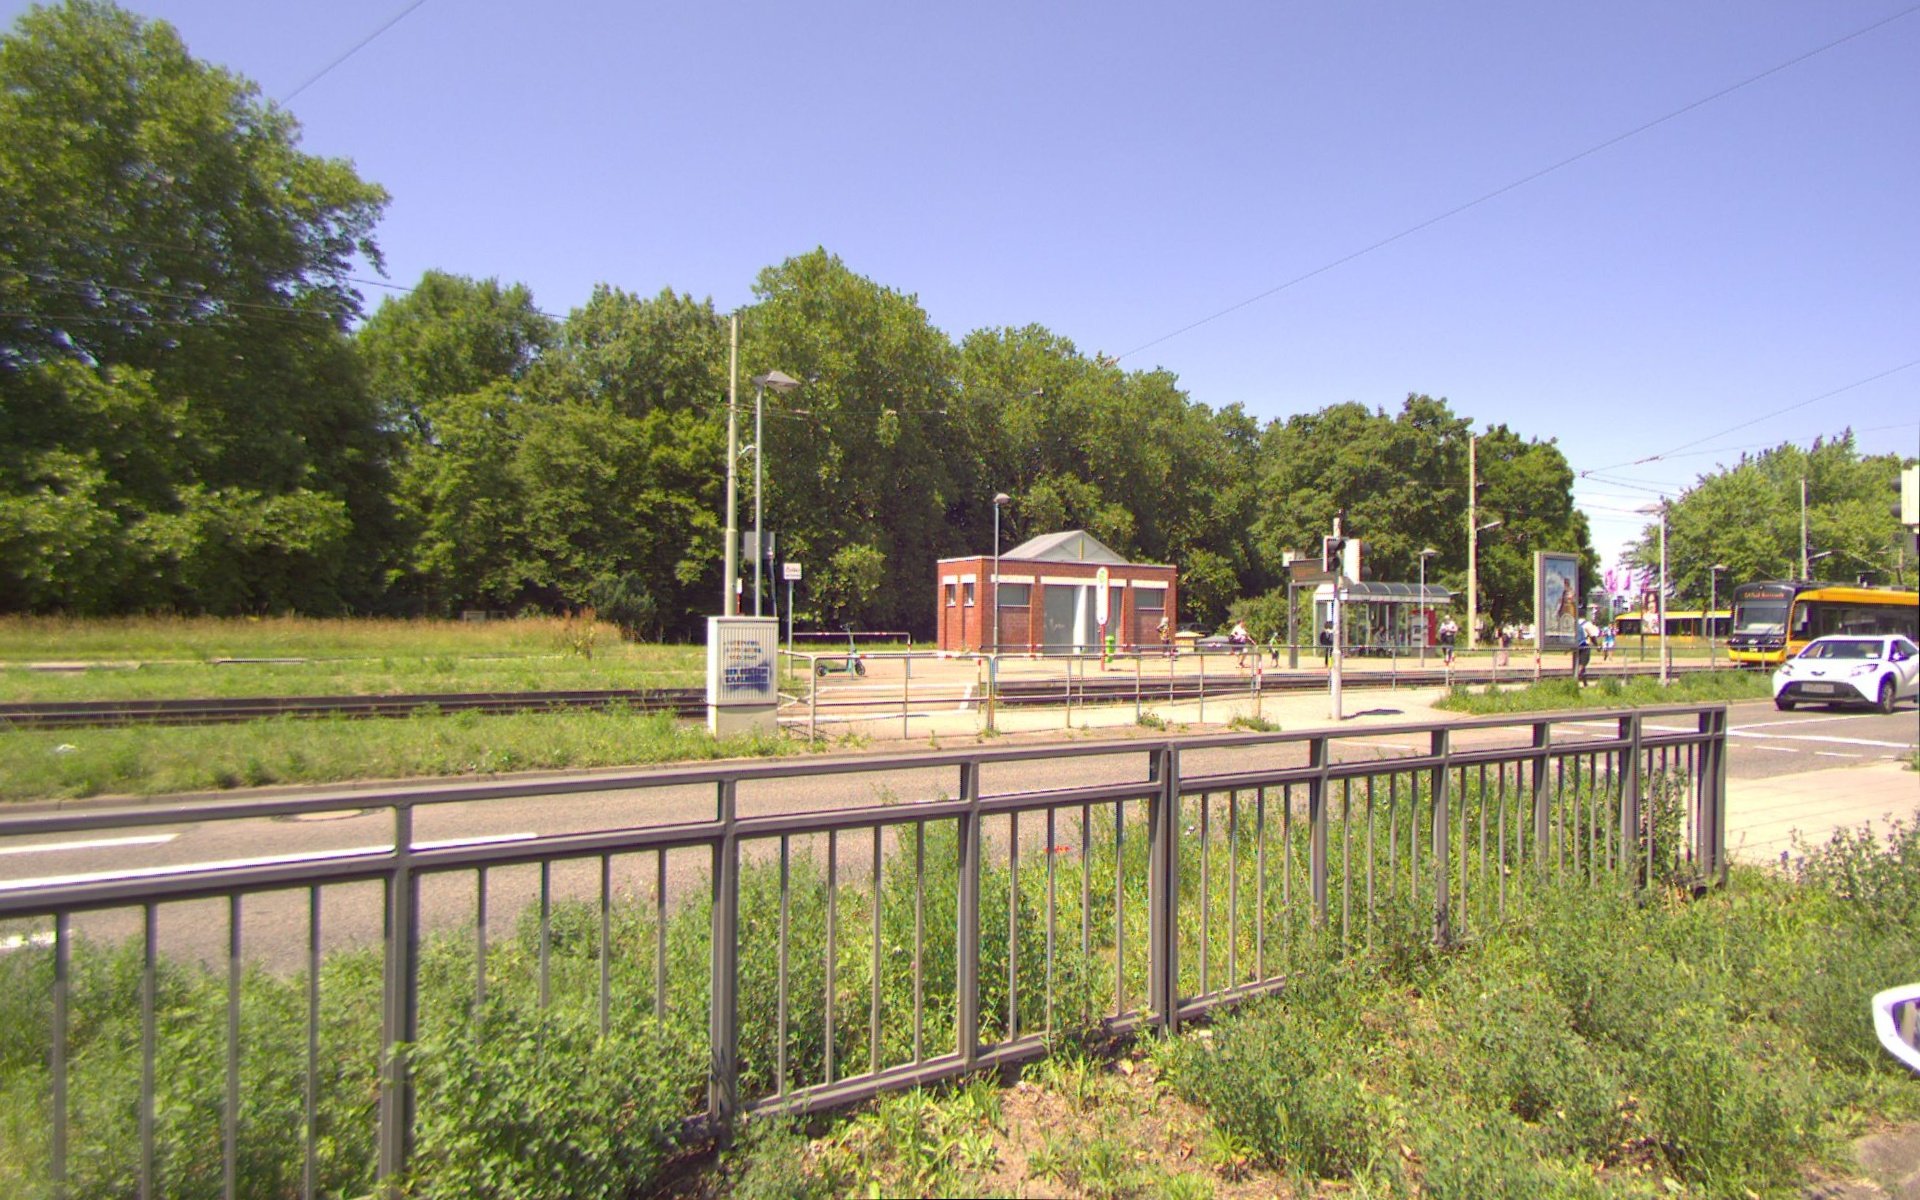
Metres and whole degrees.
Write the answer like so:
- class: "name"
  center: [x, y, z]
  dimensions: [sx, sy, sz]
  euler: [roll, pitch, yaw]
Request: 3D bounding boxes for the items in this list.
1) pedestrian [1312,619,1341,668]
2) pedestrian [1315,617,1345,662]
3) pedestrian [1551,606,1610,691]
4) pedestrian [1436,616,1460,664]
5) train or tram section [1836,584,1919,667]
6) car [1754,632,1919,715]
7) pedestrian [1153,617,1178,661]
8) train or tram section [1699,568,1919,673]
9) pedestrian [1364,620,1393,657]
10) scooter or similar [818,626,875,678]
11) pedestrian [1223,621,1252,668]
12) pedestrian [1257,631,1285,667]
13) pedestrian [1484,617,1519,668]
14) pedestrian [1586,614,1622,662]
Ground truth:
- class: "pedestrian"
  center: [11.823, 1.392, 32.397]
  dimensions: [0.688, 1.575, 0.629]
  euler: [1, -1, -42]
- class: "pedestrian"
  center: [13.514, 1.443, 36.680]
  dimensions: [0.799, 1.611, 0.668]
  euler: [1, -1, -30]
- class: "pedestrian"
  center: [13.776, 1.057, 22.315]
  dimensions: [0.832, 1.802, 0.714]
  euler: [-1, 5, -30]
- class: "pedestrian"
  center: [18.864, 1.531, 38.860]
  dimensions: [0.707, 1.824, 0.845]
  euler: [0, -1, 17]
- class: "train or tram section"
  center: [51.648, 1.420, 55.563]
  dimensions: [3.174, 3.984, 18.435]
  euler: [0, -1, 36]
- class: "car"
  center: [18.115, 1.435, 20.456]
  dimensions: [3.747, 1.514, 1.836]
  euler: [1, -1, -30]
- class: "pedestrian"
  center: [7.064, 1.334, 34.550]
  dimensions: [0.563, 1.499, 0.636]
  euler: [1, -1, -30]
- class: "train or tram section"
  center: [38.825, 0.995, 44.114]
  dimensions: [18.280, 3.984, 3.201]
  euler: [1, -1, -30]
- class: "pedestrian"
  center: [17.245, 1.578, 41.372]
  dimensions: [0.710, 1.531, 0.841]
  euler: [1, -1, -19]
- class: "scooter or similar"
  center: [-2.637, 1.205, 23.448]
  dimensions: [1.217, 1.183, 0.508]
  euler: [1, -1, -30]
- class: "pedestrian"
  center: [8.785, 1.394, 31.795]
  dimensions: [0.576, 1.476, 0.636]
  euler: [1, -1, -30]
- class: "pedestrian"
  center: [9.964, 1.575, 32.212]
  dimensions: [0.563, 1.139, 0.636]
  euler: [1, -1, -30]
- class: "pedestrian"
  center: [20.033, 1.554, 37.152]
  dimensions: [0.832, 1.802, 0.714]
  euler: [-1, 5, -30]
- class: "pedestrian"
  center: [28.010, 1.636, 43.665]
  dimensions: [1.009, 2.040, 0.976]
  euler: [1, -1, -30]
